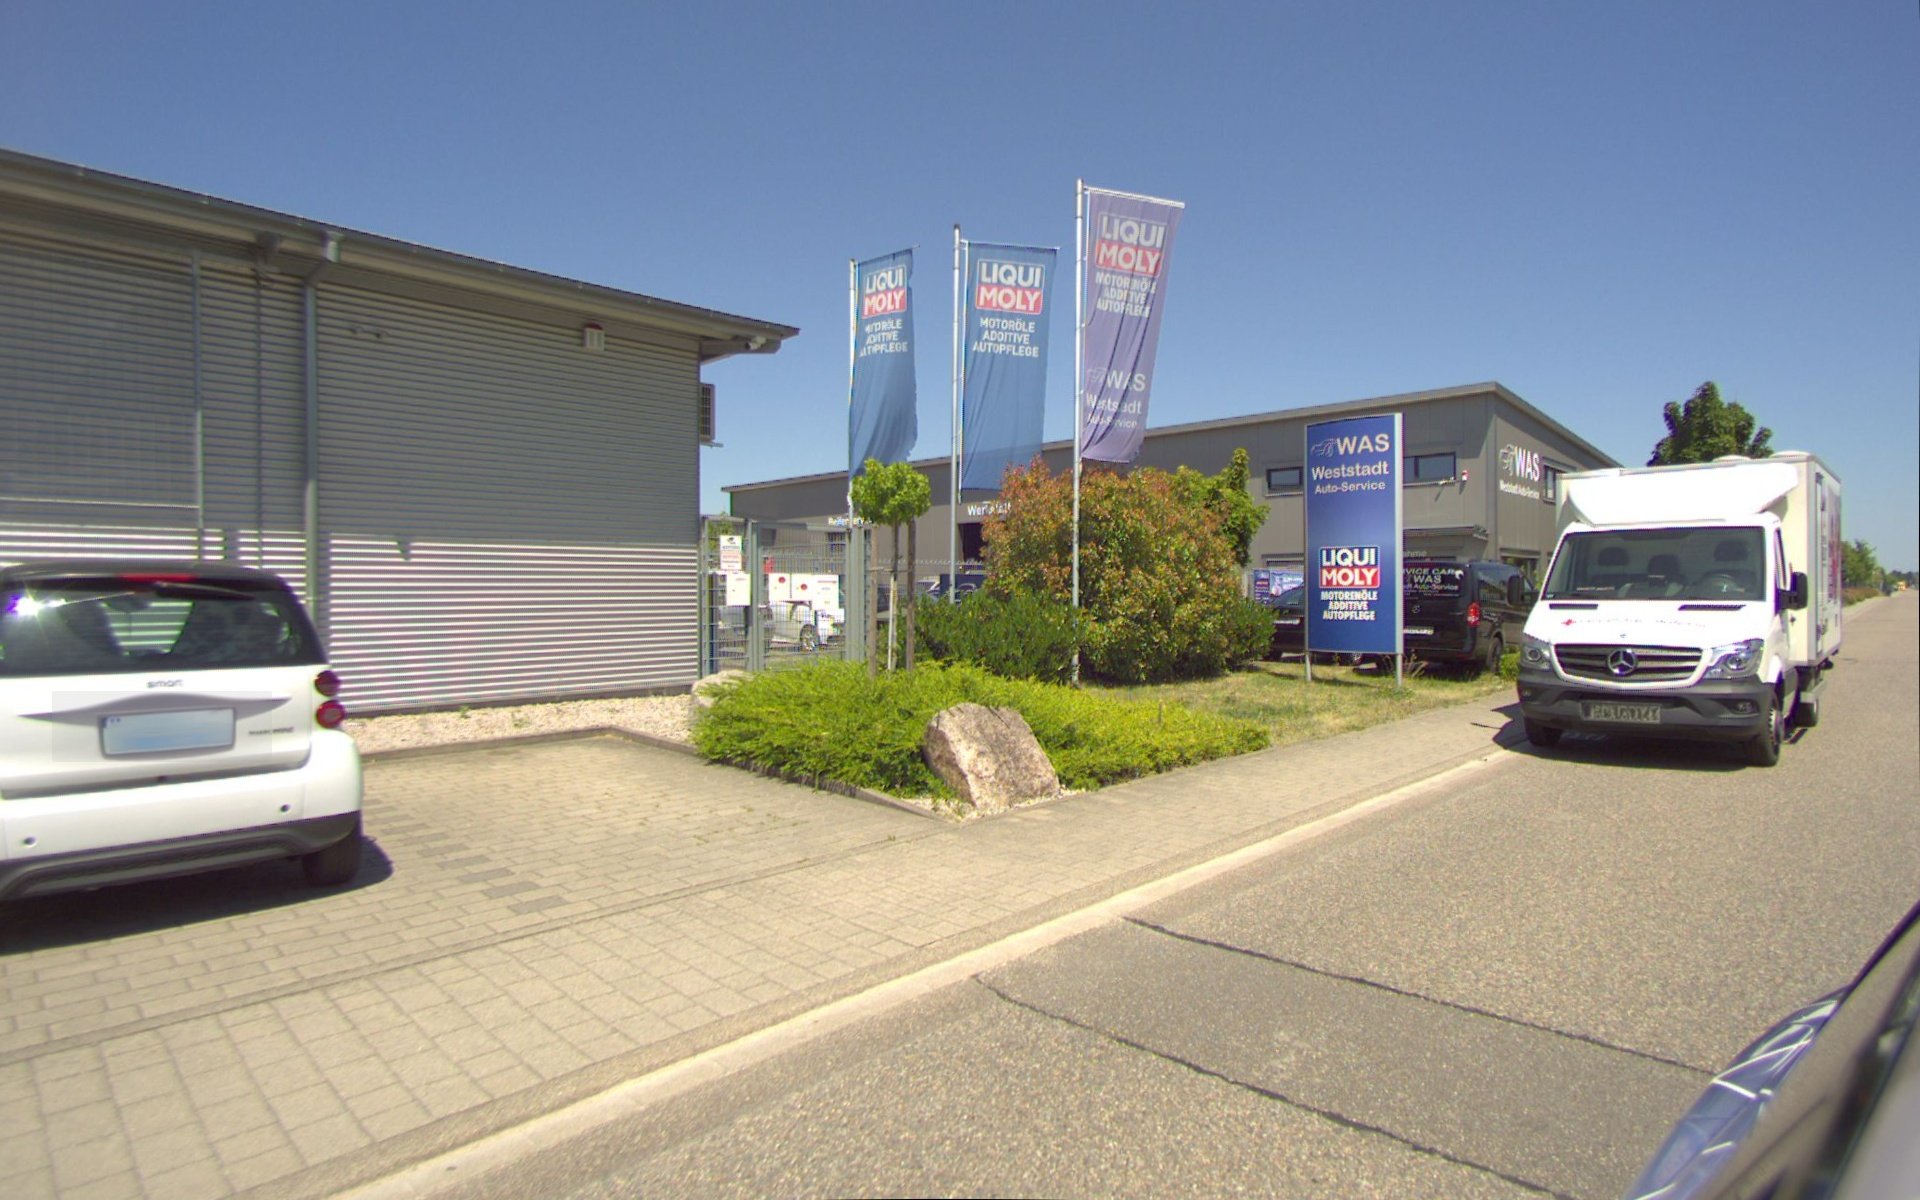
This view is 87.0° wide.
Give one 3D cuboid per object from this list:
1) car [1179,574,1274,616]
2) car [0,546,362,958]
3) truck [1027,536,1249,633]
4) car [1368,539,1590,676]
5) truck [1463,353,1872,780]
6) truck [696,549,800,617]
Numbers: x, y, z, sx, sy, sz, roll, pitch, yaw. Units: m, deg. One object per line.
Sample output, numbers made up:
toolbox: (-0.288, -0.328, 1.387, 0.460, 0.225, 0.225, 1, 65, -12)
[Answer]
car: (9.098, -0.201, 34.431, 3.513, 1.321, 1.586, -2, 3, -45)
car: (-4.195, 0.541, 5.172, 1.389, 1.560, 2.708, -1, 2, -44)
truck: (4.763, -0.465, 27.945, 2.145, 2.399, 5.937, -1, 2, -44)
car: (9.186, 0.063, 17.675, 1.994, 2.039, 5.251, 0, 1, 45)
truck: (7.968, -0.312, 10.969, 6.770, 3.245, 2.459, -1, 1, -45)
truck: (-10.985, -0.825, 52.089, 2.318, 3.284, 6.257, -2, 0, -43)
